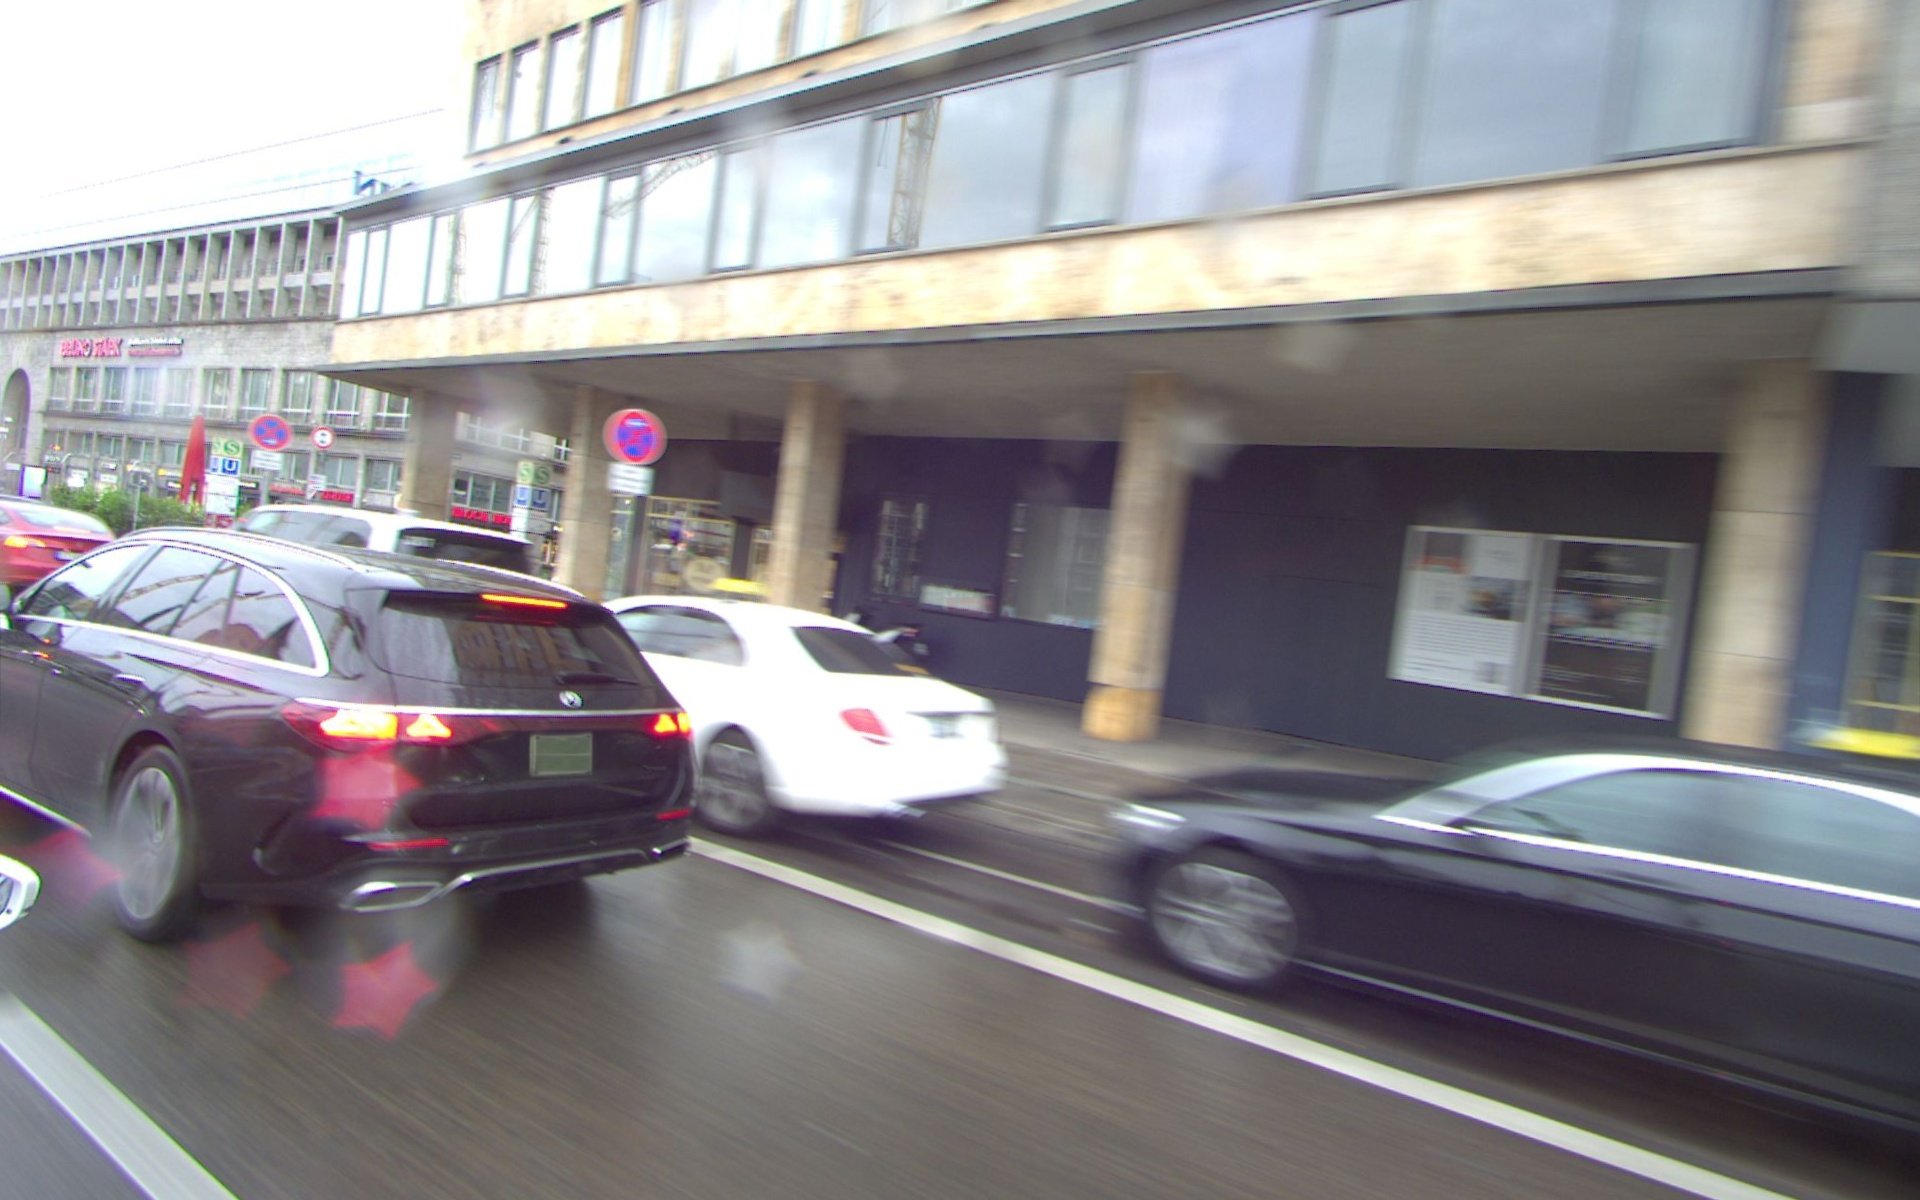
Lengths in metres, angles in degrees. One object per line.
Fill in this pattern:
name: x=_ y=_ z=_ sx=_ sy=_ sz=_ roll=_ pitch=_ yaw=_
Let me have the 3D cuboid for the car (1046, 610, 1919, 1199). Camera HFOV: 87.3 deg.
car: x=3.012 y=1.184 z=4.635 sx=4.735 sy=1.656 sz=1.878 roll=6 pitch=-2 yaw=32

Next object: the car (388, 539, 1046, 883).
car: x=-2.034 y=0.639 z=7.768 sx=4.928 sy=1.656 sz=1.878 roll=6 pitch=-2 yaw=32

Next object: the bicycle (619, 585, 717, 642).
bicycle: x=-6.851 y=0.303 z=23.509 sx=2.431 sy=1.058 sz=0.657 roll=6 pitch=-2 yaw=32

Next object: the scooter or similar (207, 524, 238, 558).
scooter or similar: x=-29.013 y=-2.329 z=39.567 sx=1.000 sy=1.203 sz=0.291 roll=7 pitch=-1 yaw=14

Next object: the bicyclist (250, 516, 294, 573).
bicyclist: x=-20.516 y=-1.643 z=30.008 sx=0.601 sy=1.558 sz=0.719 roll=7 pitch=-1 yaw=13

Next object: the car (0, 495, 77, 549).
car: x=-31.142 y=-2.685 z=32.019 sx=1.736 sy=1.414 sz=4.380 roll=6 pitch=-3 yaw=44

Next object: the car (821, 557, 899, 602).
car: x=-5.688 y=-1.131 z=57.816 sx=1.966 sy=1.995 sz=4.638 roll=7 pitch=-1 yaw=29

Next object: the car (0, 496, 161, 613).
car: x=-15.092 y=-0.831 z=16.270 sx=4.451 sy=1.503 sz=1.878 roll=6 pitch=-2 yaw=32

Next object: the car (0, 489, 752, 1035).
car: x=-3.382 y=0.406 z=4.947 sx=4.553 sy=1.519 sz=1.796 roll=6 pitch=-2 yaw=33

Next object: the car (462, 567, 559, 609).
car: x=-21.018 y=-0.532 z=47.155 sx=1.821 sy=1.414 sz=3.662 roll=6 pitch=-2 yaw=32

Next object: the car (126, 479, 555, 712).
car: x=-6.910 y=-0.106 z=11.057 sx=4.854 sy=1.942 sz=1.878 roll=6 pitch=-2 yaw=32

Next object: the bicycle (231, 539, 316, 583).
bicycle: x=-20.542 y=-1.153 z=30.150 sx=0.581 sy=1.021 sz=2.217 roll=7 pitch=-2 yaw=13

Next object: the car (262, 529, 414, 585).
car: x=-24.146 y=-1.637 z=39.229 sx=1.731 sy=1.414 sz=4.640 roll=6 pitch=-2 yaw=34

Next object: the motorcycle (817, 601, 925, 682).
motorcycle: x=-1.663 y=0.746 z=18.550 sx=2.074 sy=1.232 sz=0.567 roll=6 pitch=-2 yaw=40
